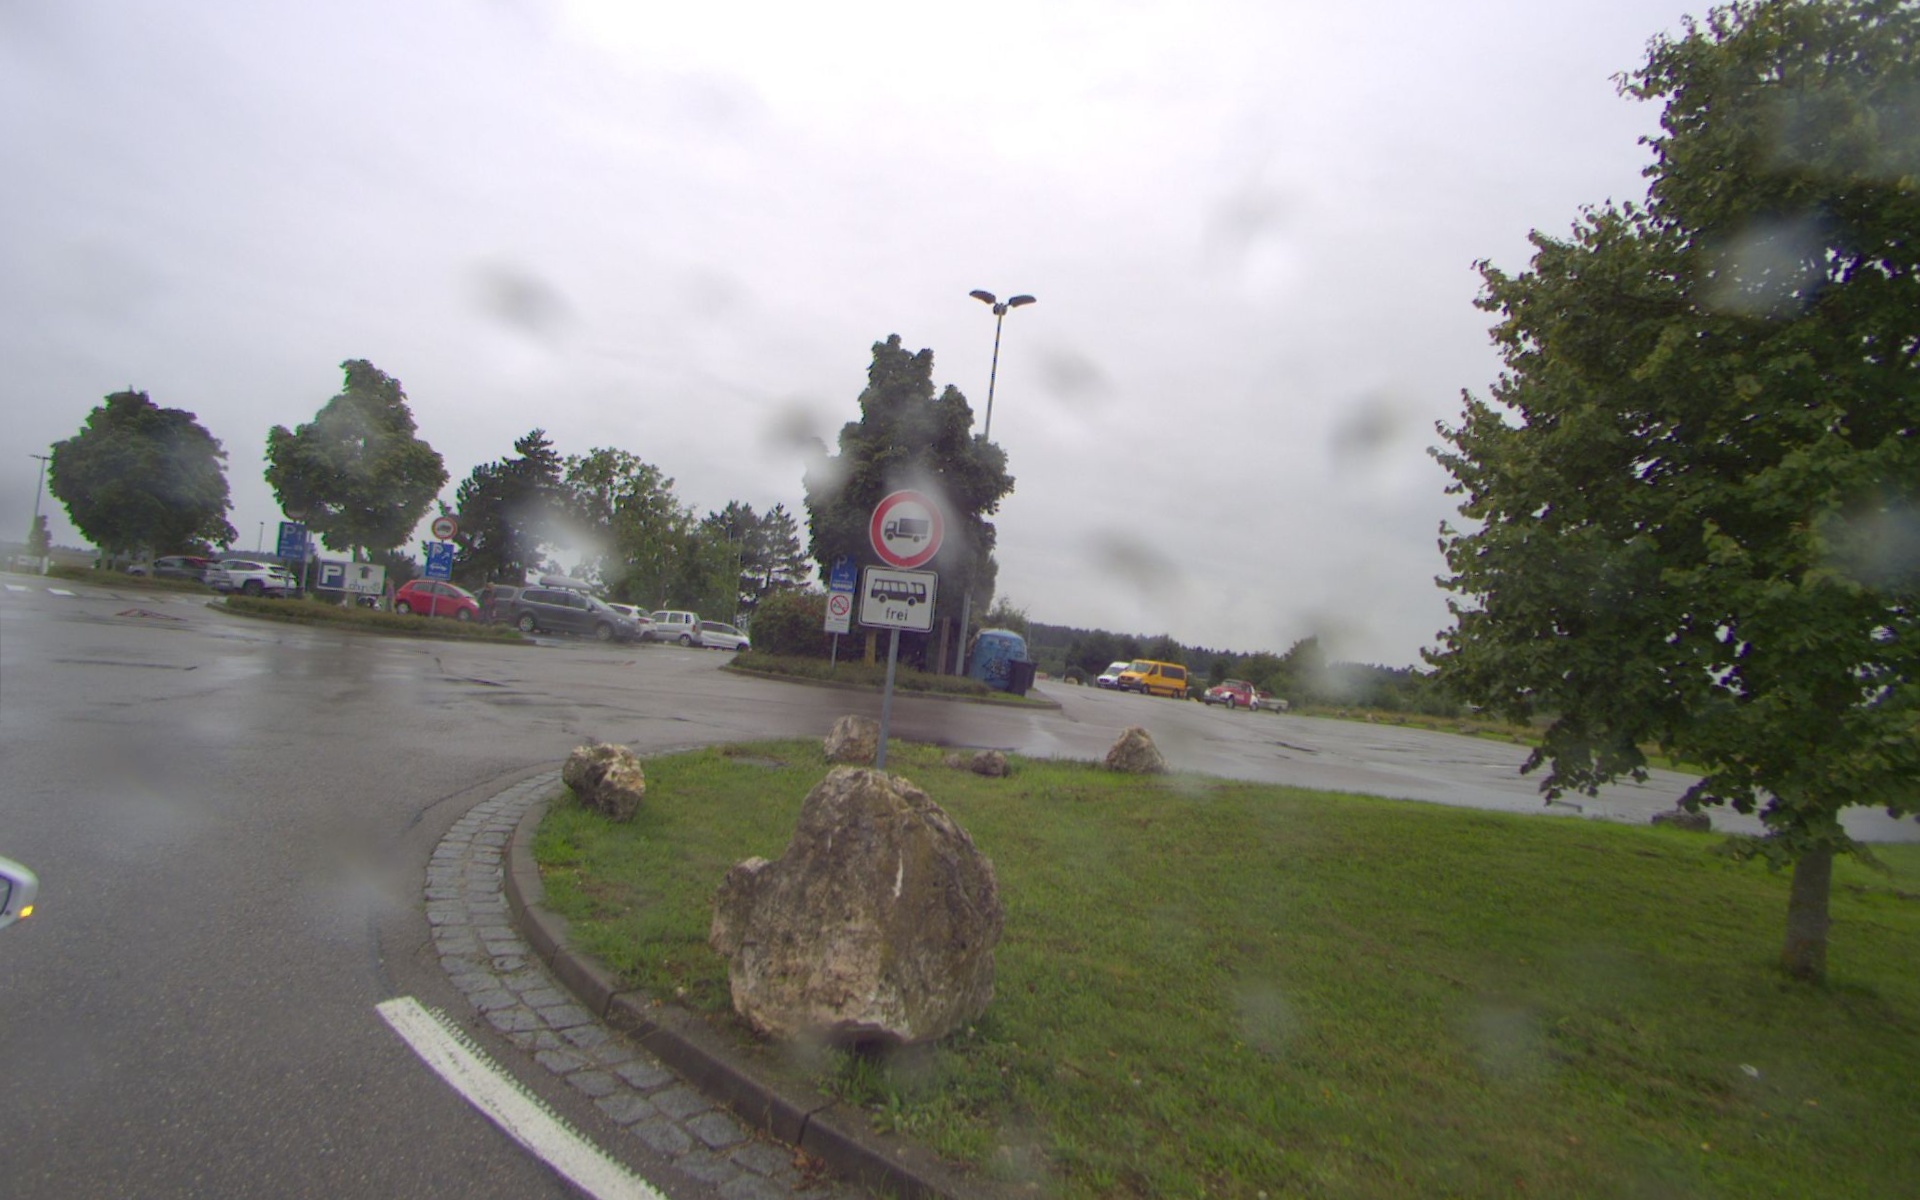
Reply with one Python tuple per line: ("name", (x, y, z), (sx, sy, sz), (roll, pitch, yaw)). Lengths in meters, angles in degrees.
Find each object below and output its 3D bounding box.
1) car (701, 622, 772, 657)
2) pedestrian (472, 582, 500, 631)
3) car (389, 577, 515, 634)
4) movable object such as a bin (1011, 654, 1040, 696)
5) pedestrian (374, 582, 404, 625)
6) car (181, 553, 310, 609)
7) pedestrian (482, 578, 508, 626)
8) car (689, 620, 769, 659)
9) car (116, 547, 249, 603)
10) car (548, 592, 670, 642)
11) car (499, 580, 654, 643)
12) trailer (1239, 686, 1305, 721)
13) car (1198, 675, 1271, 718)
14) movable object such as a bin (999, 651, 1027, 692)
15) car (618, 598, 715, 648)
("car", (-15.499, 2.779, 69.887), (4.288, 1.883, 1.853), (7, -3, -1))
("pedestrian", (-17.011, 0.234, 36.106), (0.706, 1.656, 0.644), (7, -3, -22))
("car", (-20.419, 0.253, 40.566), (3.948, 1.813, 1.852), (6, -2, -1))
("movable object such as a bin", (1.622, 1.864, 25.096), (0.467, 0.960, 0.433), (8, -1, -23))
("pedestrian", (-19.361, 0.107, 34.119), (0.641, 1.376, 0.447), (9, -5, -41))
("car", (-31.741, -0.806, 44.781), (4.287, 1.882, 1.723), (6, -4, -1))
("pedestrian", (-17.590, 0.084, 38.080), (0.602, 1.742, 0.682), (7, -4, -18))
("car", (-14.099, 2.442, 61.544), (4.287, 1.882, 1.854), (6, -4, -1))
("car", (-32.260, -1.012, 41.818), (3.951, 1.734, 1.723), (6, -4, -1))
("car", (-14.005, 0.695, 40.251), (4.119, 1.535, 1.744), (6, -1, 1))
("car", (-14.246, 0.459, 37.608), (4.859, 1.813, 2.001), (6, -2, -1))
("trailer", (17.399, 5.769, 56.037), (3.978, 1.549, 1.680), (10, -4, -44))
("car", (14.581, 5.137, 53.295), (3.978, 1.796, 1.807), (10, -5, -43))
("movable object such as a bin", (1.355, 1.814, 25.545), (0.400, 0.960, 0.448), (7, -1, 44))
("car", (-14.124, 1.129, 48.534), (3.948, 1.882, 1.854), (6, -4, -1))
